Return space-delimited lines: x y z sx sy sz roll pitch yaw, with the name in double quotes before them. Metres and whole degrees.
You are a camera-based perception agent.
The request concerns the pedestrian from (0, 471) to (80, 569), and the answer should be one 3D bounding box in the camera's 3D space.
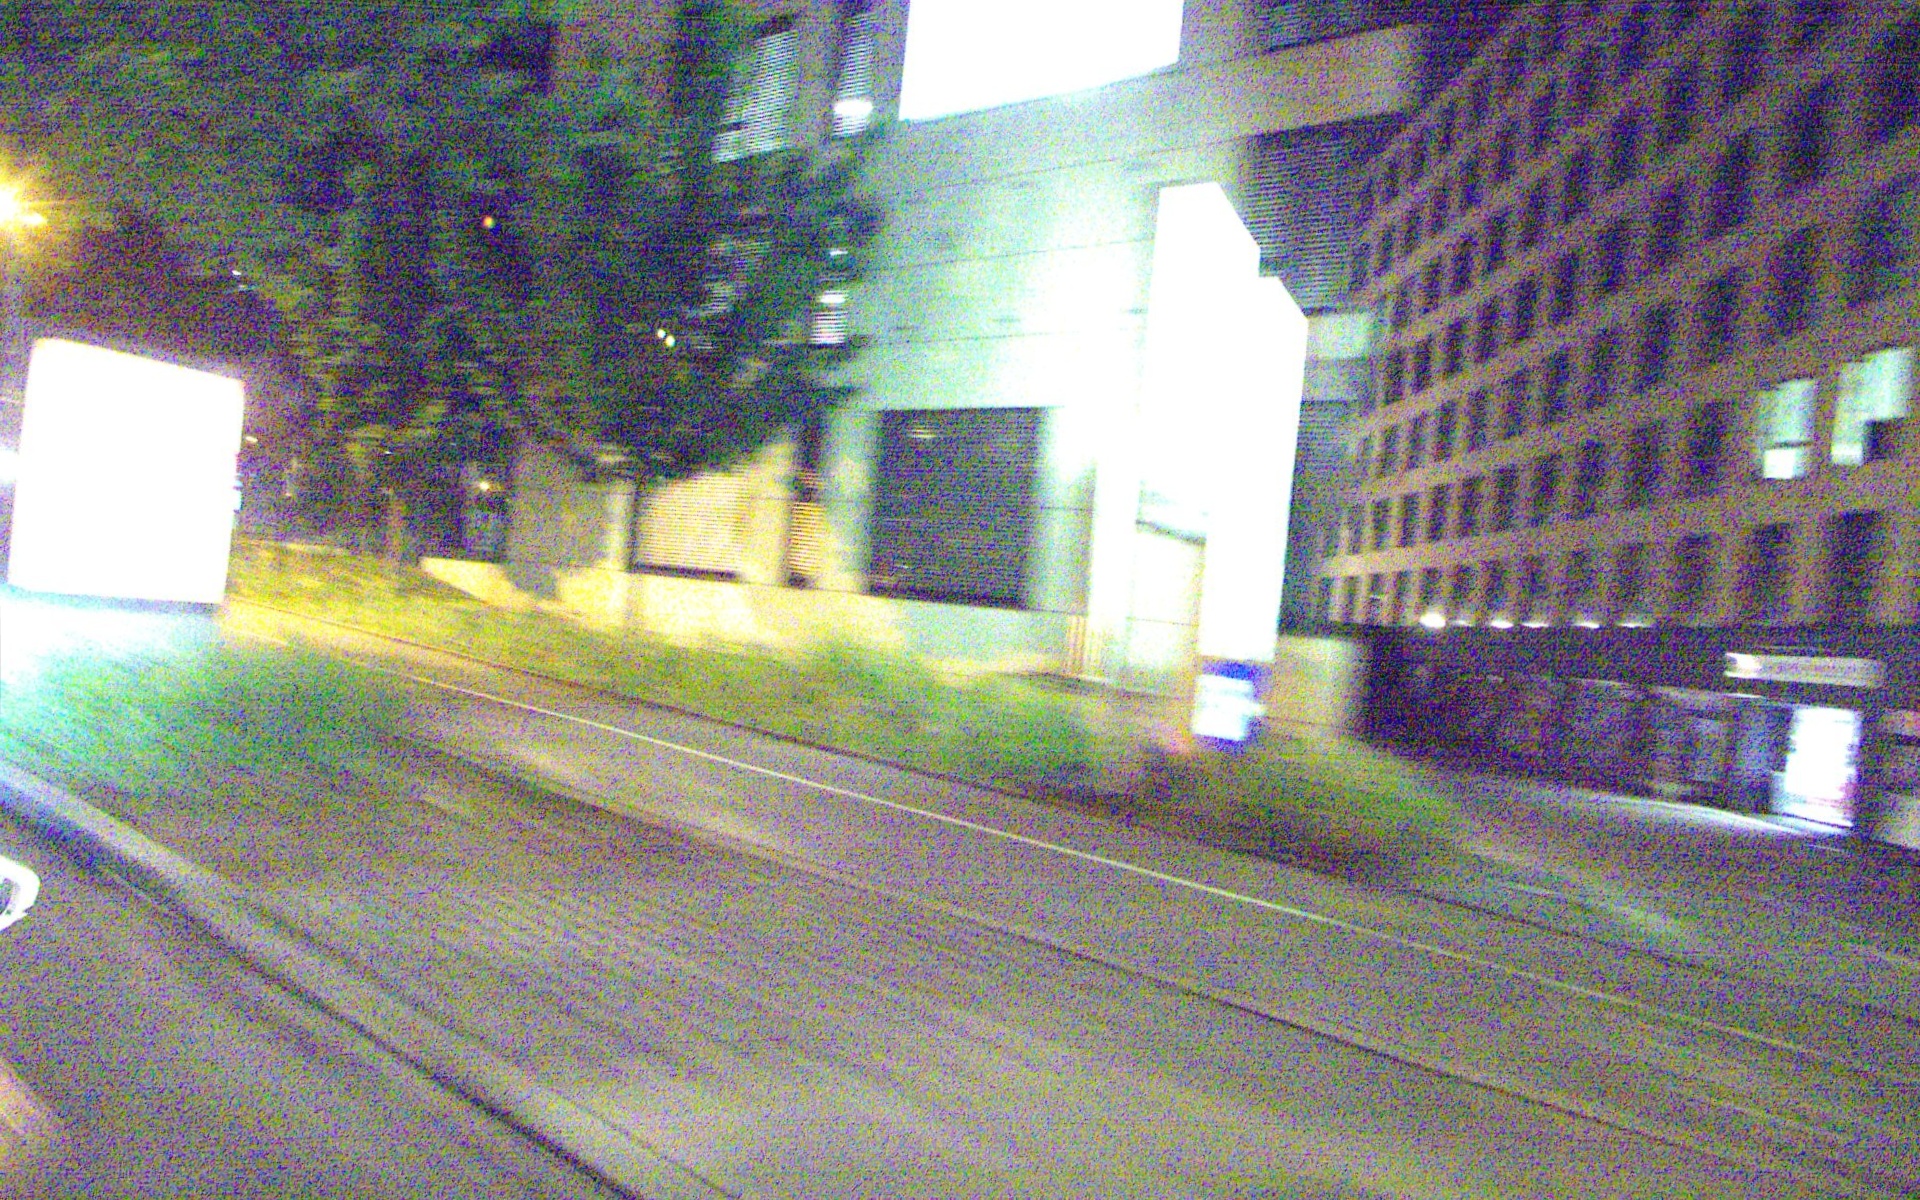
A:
"pedestrian" -17.944 -1.554 19.557 0.941 1.727 0.854 7 0 30
